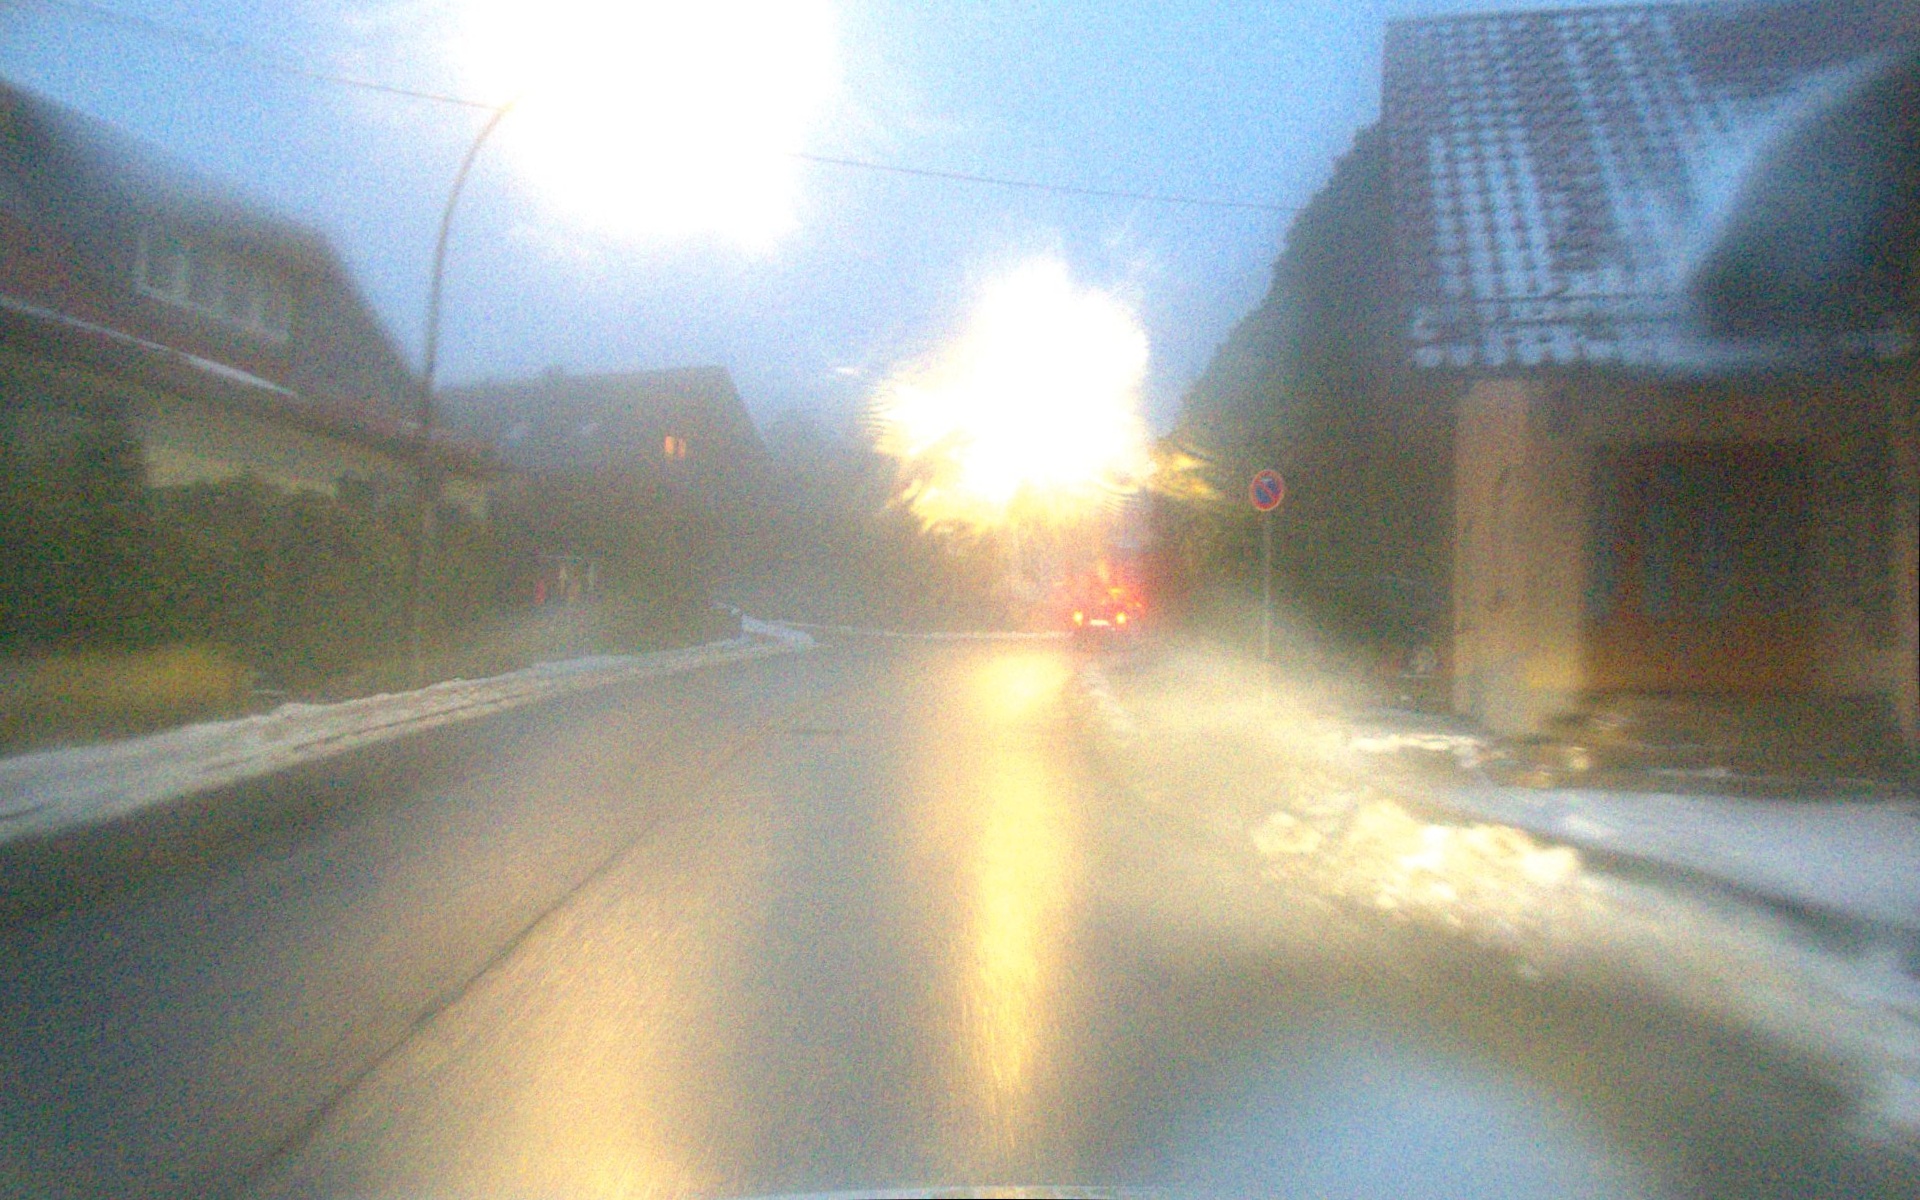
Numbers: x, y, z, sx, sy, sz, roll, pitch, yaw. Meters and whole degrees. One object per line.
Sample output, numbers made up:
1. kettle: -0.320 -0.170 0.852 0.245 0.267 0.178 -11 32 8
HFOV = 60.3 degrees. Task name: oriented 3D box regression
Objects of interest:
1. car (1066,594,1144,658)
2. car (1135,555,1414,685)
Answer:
1. car: 4.420 0.822 49.943 1.951 1.767 3.881 -1 -3 11
2. car: 4.666 0.328 25.055 3.903 1.720 1.845 -3 -2 4
